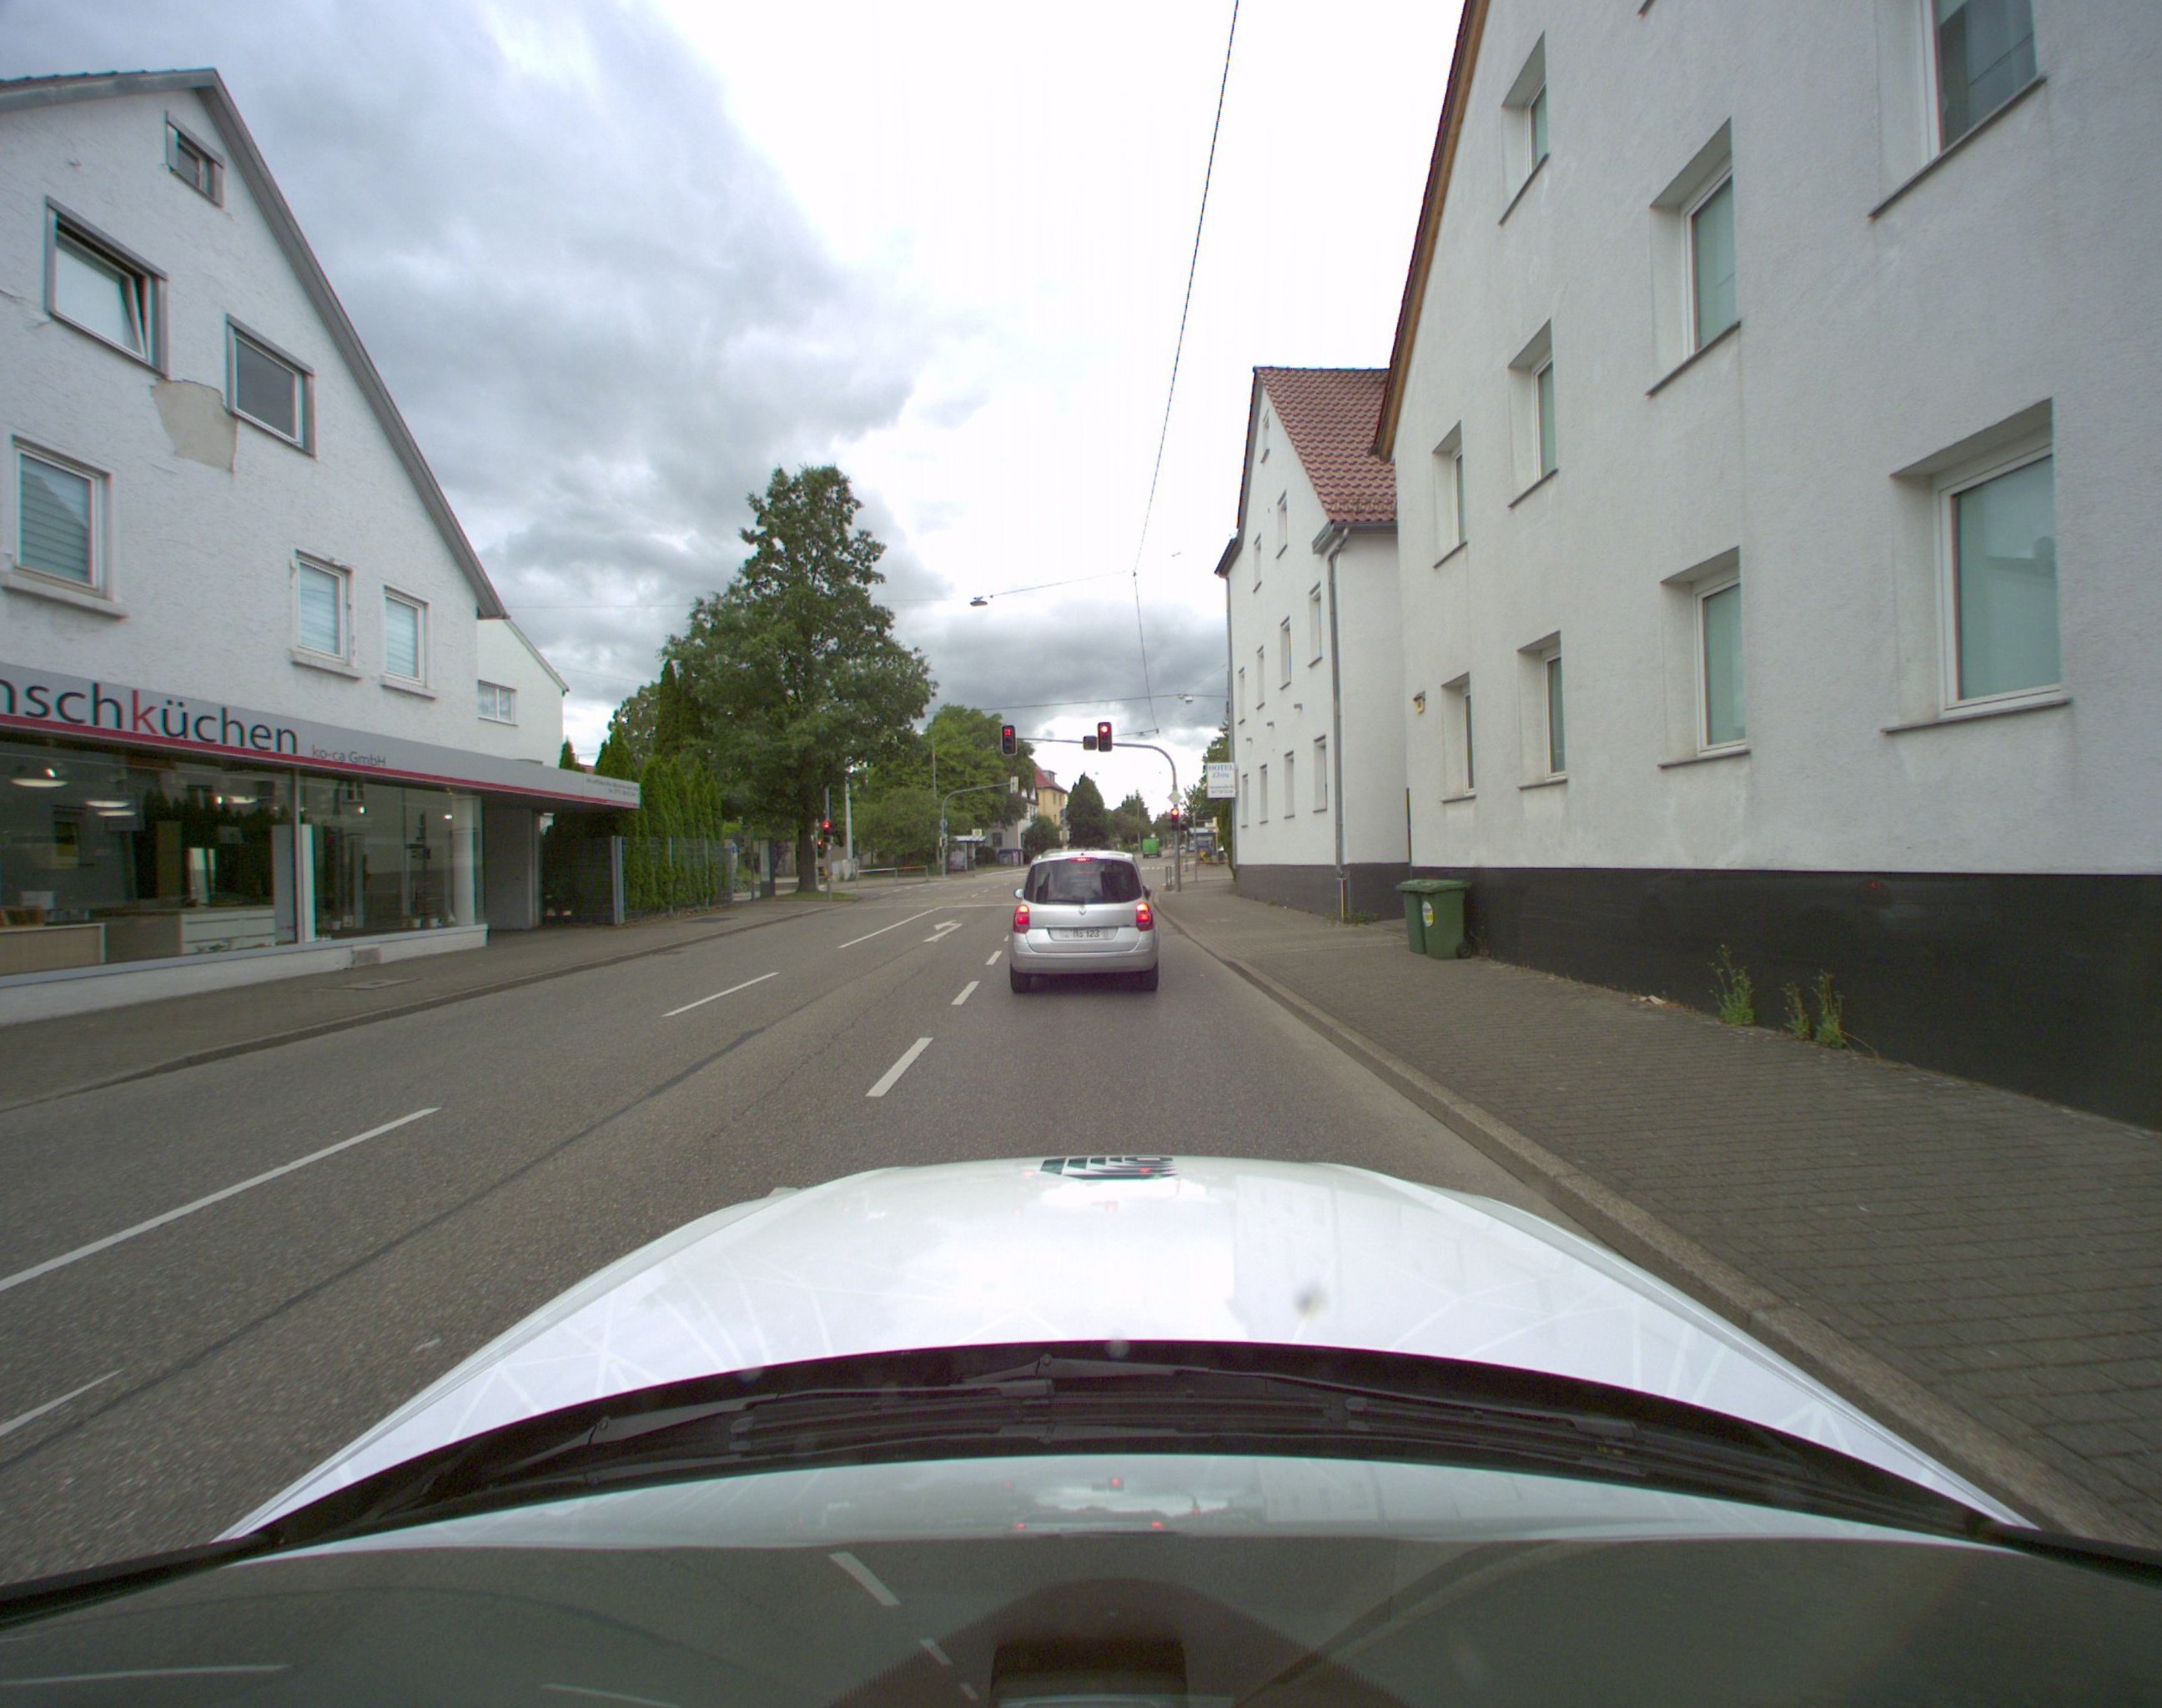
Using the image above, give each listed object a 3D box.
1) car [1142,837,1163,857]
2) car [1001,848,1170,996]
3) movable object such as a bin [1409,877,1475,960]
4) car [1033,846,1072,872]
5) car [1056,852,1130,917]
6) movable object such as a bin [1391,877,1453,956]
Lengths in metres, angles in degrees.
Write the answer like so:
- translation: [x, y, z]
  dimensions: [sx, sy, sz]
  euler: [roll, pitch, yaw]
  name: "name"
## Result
- translation: [9.009, -0.842, 102.485]
  dimensions: [2.046, 2.512, 5.611]
  euler: [-1, 0, 10]
  name: "car"
- translation: [0.063, 0.717, 10.503]
  dimensions: [1.749, 1.530, 4.000]
  euler: [-1, 0, 0]
  name: "car"
- translation: [4.379, 0.768, 9.907]
  dimensions: [0.538, 0.941, 0.487]
  euler: [-4, -1, 1]
  name: "movable object such as a bin"
- translation: [-2.119, 0.365, 61.831]
  dimensions: [1.914, 1.773, 4.012]
  euler: [-5, -1, 11]
  name: "car"
- translation: [0.294, 0.728, 21.241]
  dimensions: [1.749, 1.530, 3.797]
  euler: [-1, 0, 0]
  name: "car"
- translation: [4.363, 0.786, 10.443]
  dimensions: [0.538, 0.941, 0.487]
  euler: [-4, -1, 1]
  name: "movable object such as a bin"
